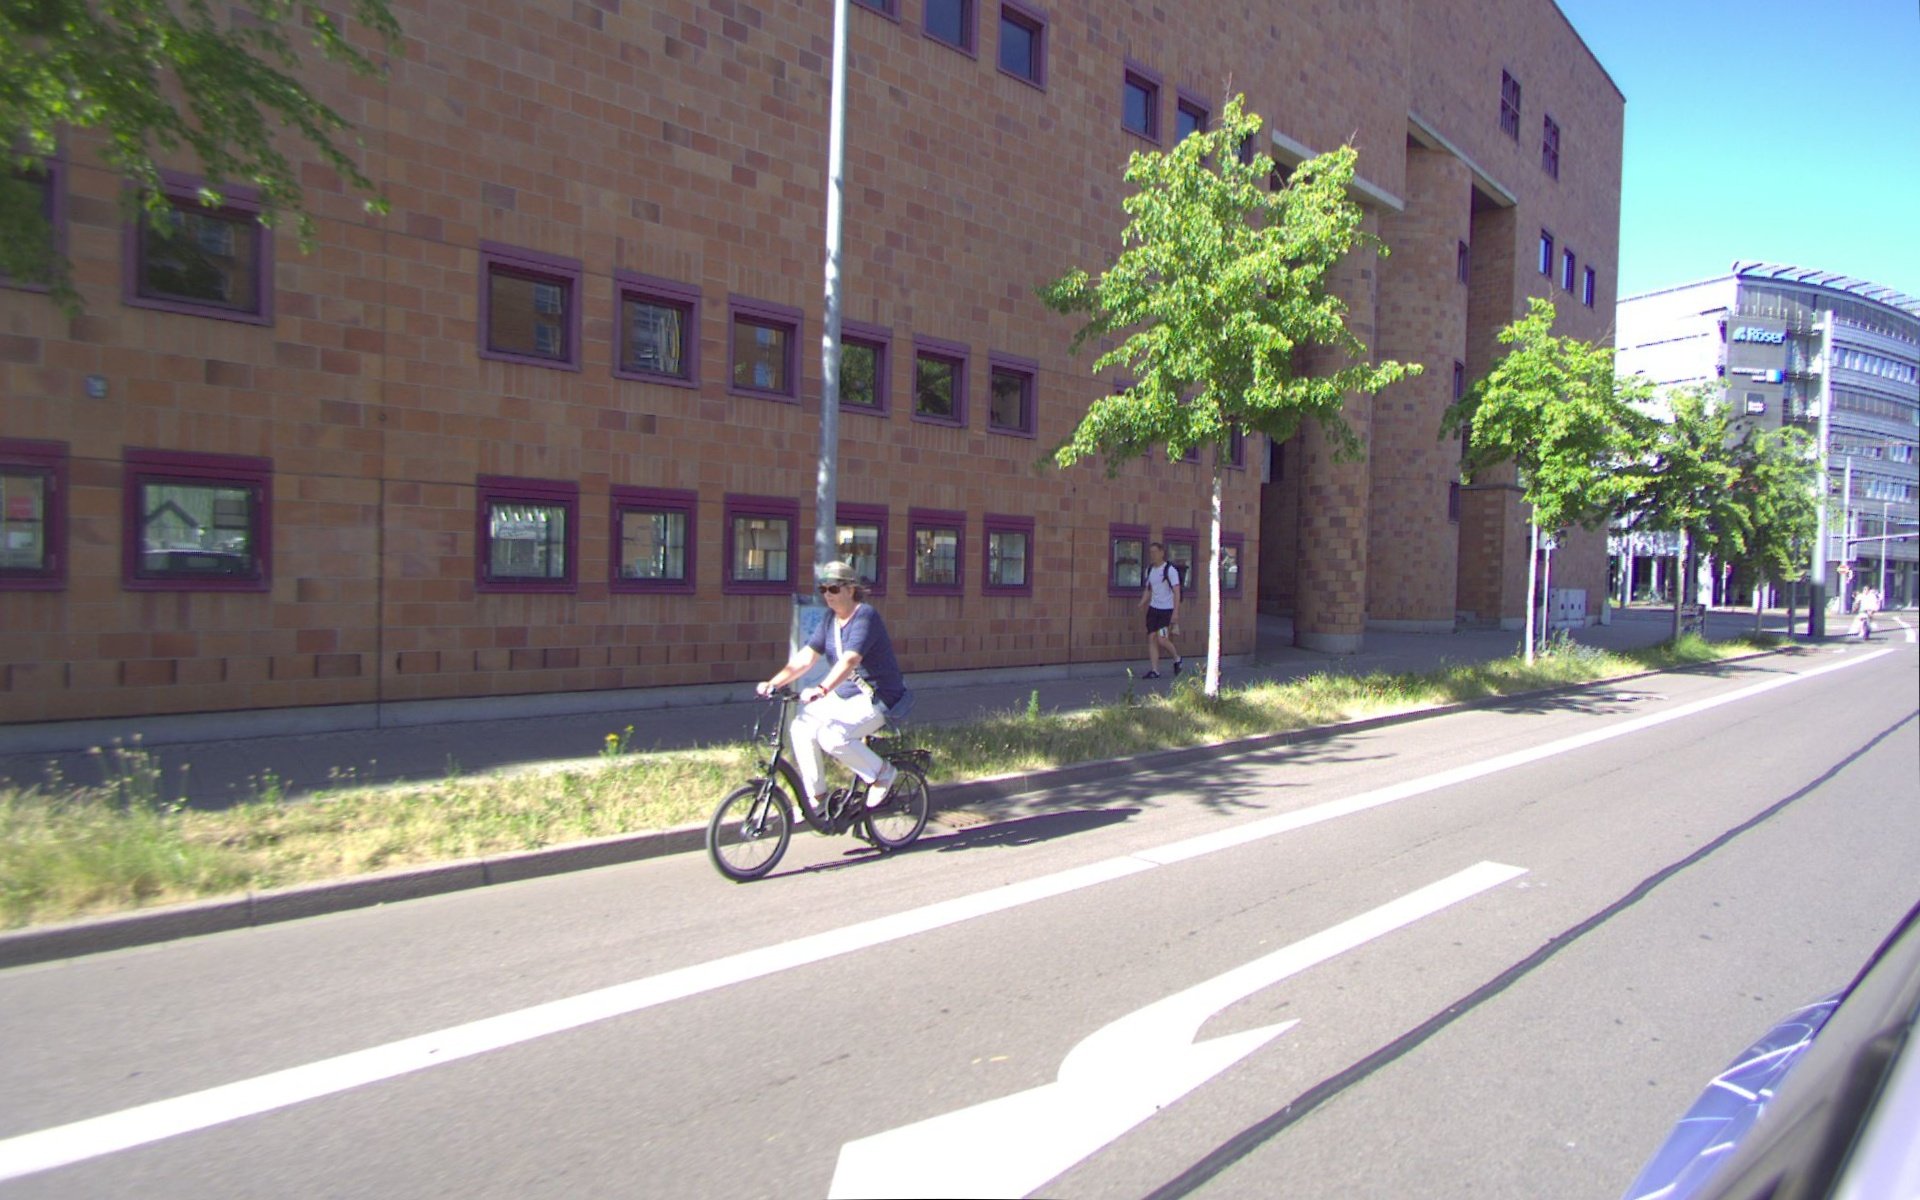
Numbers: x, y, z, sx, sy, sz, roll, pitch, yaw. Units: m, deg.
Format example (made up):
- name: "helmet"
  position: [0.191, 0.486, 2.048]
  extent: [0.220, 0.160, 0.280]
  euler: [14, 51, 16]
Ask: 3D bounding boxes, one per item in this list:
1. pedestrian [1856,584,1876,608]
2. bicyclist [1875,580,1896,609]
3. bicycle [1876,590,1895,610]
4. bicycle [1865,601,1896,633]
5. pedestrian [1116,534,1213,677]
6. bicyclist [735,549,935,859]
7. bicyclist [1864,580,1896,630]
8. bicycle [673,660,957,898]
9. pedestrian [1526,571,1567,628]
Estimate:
- name: "pedestrian"
  position: [67.879, -0.302, 75.826]
  extent: [0.784, 1.708, 0.862]
  euler: [0, 2, -28]
- name: "bicyclist"
  position: [52.605, -0.330, 57.498]
  extent: [0.748, 1.637, 0.755]
  euler: [0, 0, -37]
- name: "bicycle"
  position: [52.669, -0.022, 57.586]
  extent: [1.480, 1.110, 0.578]
  euler: [0, 0, -38]
- name: "bicycle"
  position: [32.301, 0.586, 35.510]
  extent: [1.480, 1.110, 0.578]
  euler: [0, 0, -39]
- name: "pedestrian"
  position: [2.844, 0.052, 14.068]
  extent: [1.087, 1.906, 0.789]
  euler: [0, 2, -41]
- name: "bicyclist"
  position: [-0.691, 0.516, 5.630]
  extent: [0.893, 1.557, 0.658]
  euler: [0, 0, -41]
- name: "bicyclist"
  position: [32.234, 0.165, 35.457]
  extent: [0.893, 1.750, 0.684]
  euler: [0, 0, -39]
- name: "bicycle"
  position: [-0.754, 0.897, 5.539]
  extent: [1.481, 1.040, 0.558]
  euler: [0, 0, -41]
- name: "pedestrian"
  position: [17.640, -0.025, 30.432]
  extent: [0.960, 1.639, 0.789]
  euler: [0, 2, -43]
